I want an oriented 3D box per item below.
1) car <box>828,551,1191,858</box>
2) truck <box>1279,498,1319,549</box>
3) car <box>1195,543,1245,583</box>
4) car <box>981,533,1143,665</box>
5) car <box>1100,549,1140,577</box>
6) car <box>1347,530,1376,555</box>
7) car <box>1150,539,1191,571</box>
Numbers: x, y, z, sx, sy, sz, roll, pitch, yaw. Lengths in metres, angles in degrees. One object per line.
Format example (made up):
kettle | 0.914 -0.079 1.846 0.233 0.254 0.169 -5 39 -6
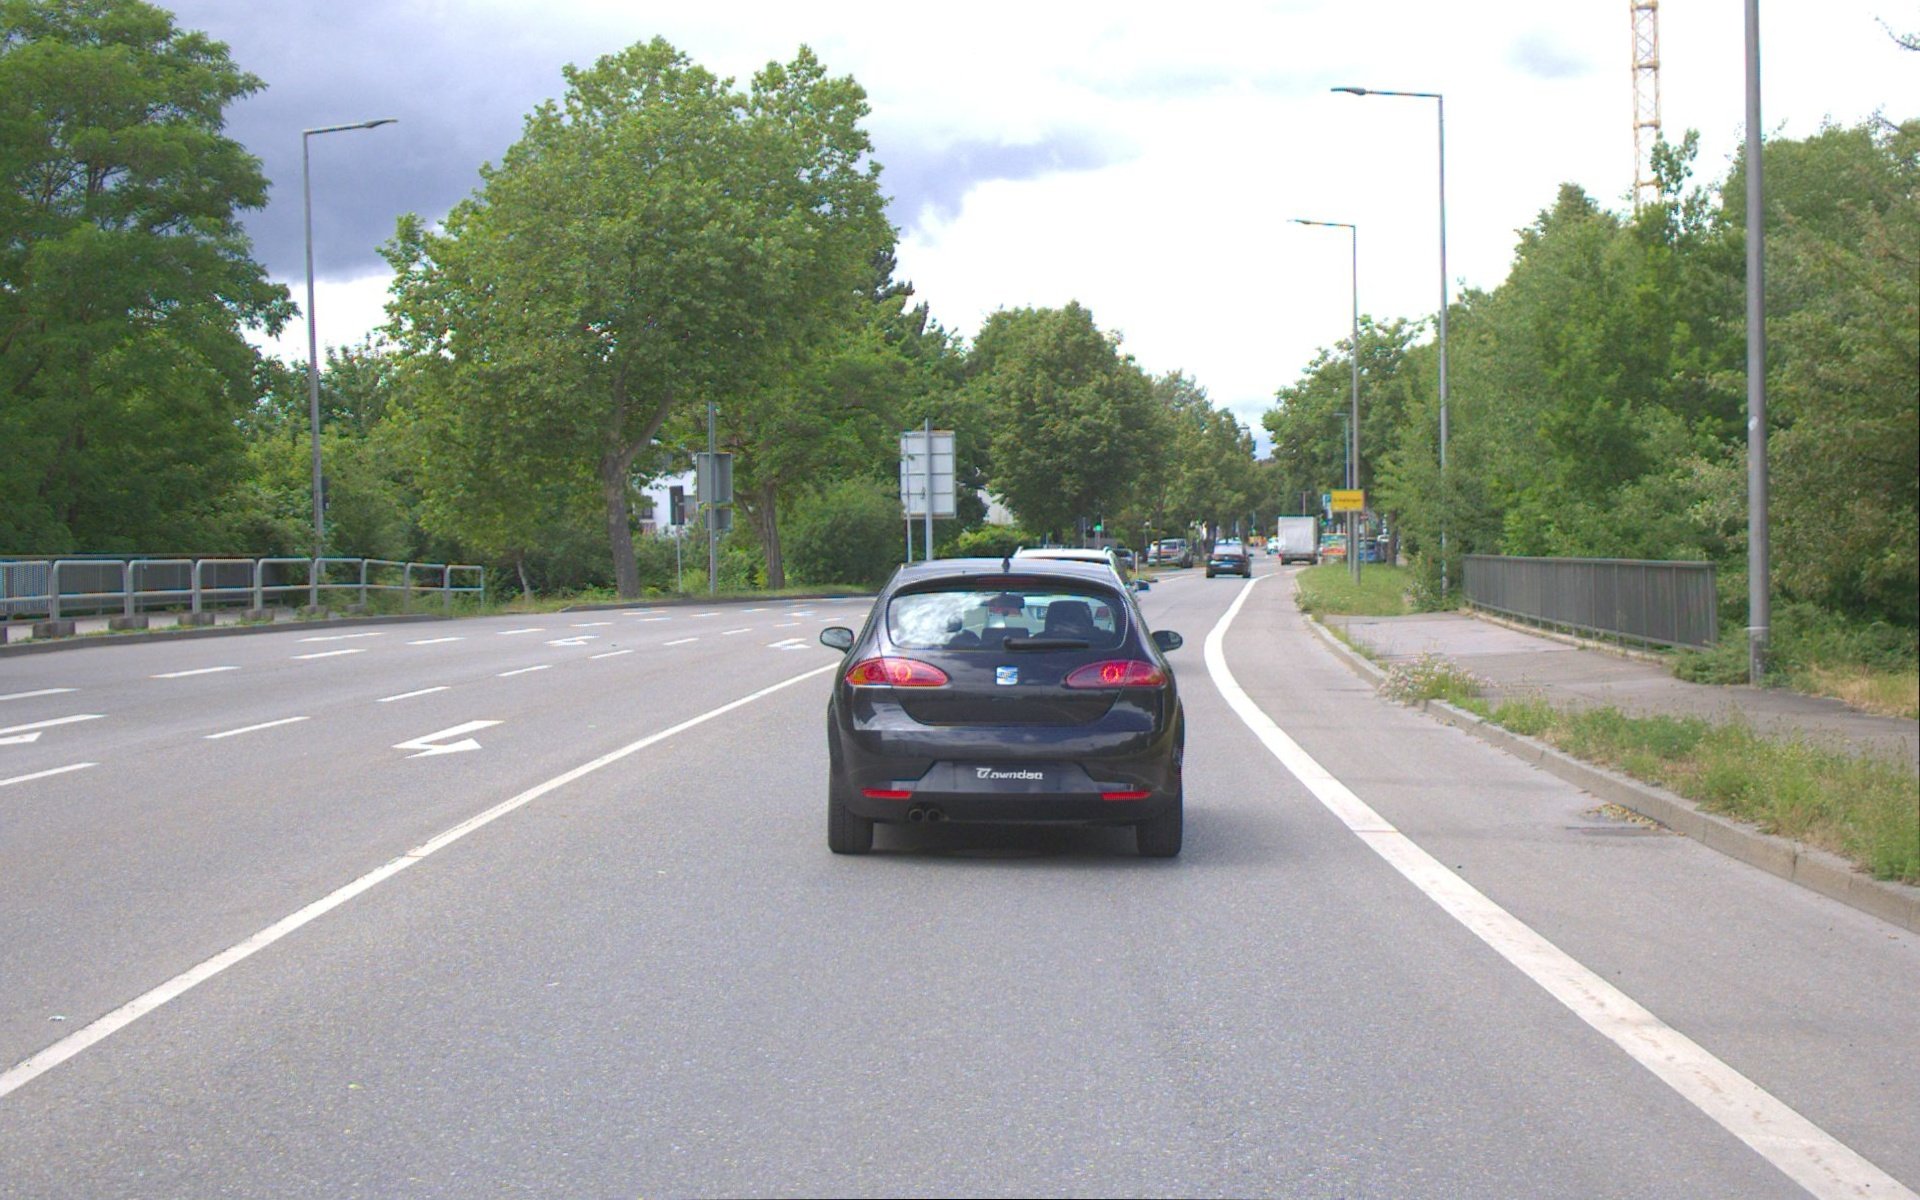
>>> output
car | 0.304 0.454 17.810 1.663 1.396 3.811 1 1 2
truck | 21.600 -4.842 218.887 2.279 3.093 8.508 1 1 7
car | 11.222 -1.598 148.065 1.882 1.683 4.212 -1 1 8
car | 1.250 -0.041 41.574 1.846 1.504 3.811 1 1 2
car | 8.770 -2.025 187.791 1.718 1.390 4.800 -2 1 8
car | 24.456 -3.499 209.250 1.688 1.485 3.354 -1 1 8
car | 13.296 -2.874 216.490 2.100 1.890 5.782 -2 1 8
